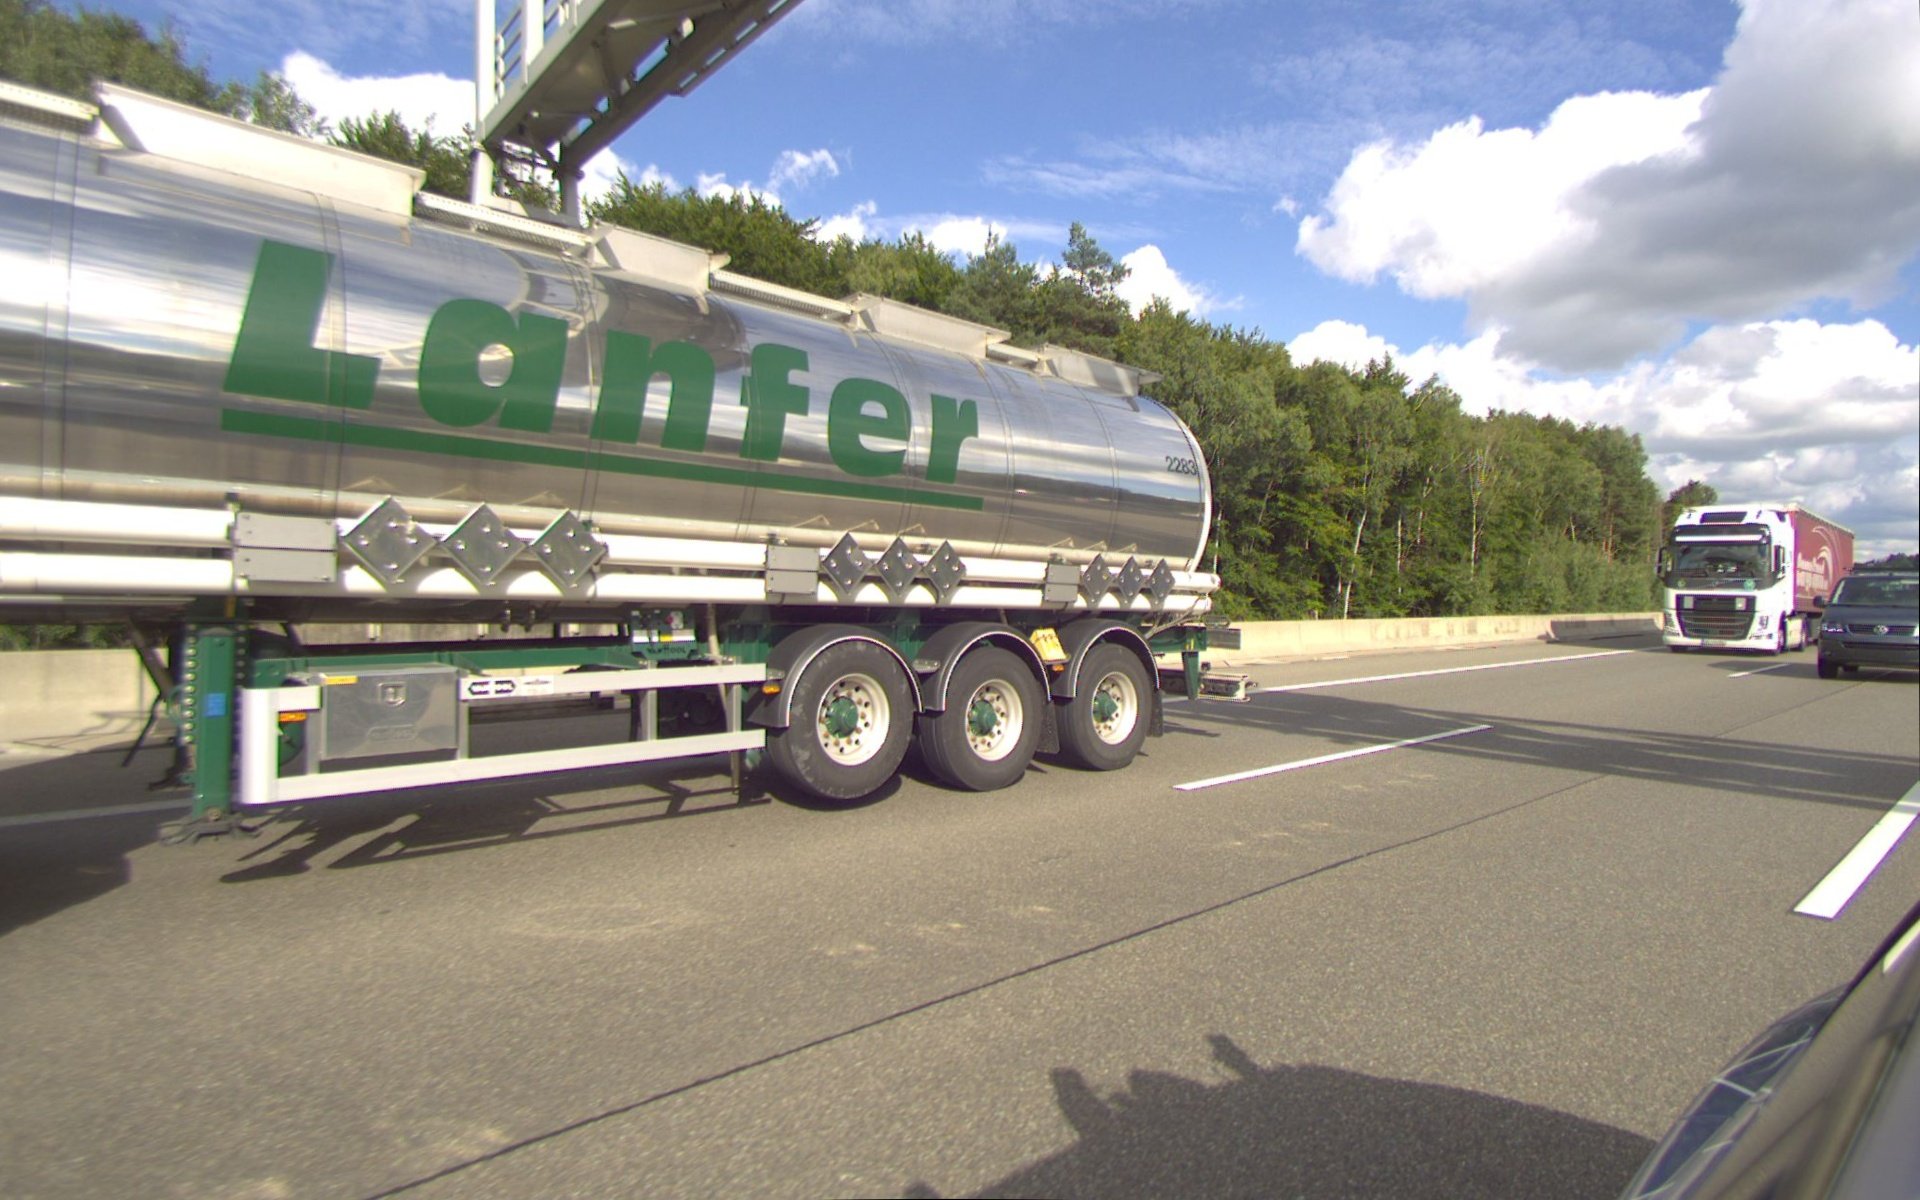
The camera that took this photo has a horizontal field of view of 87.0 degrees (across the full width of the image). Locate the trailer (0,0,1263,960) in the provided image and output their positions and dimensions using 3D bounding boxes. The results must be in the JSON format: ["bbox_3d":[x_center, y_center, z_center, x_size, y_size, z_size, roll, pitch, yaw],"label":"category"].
[{"bbox_3d":[-2.322,-0.575,6.811,11.655,3.814,2.653,0,1,-42],"label":"trailer"}]

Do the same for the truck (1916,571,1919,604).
[{"bbox_3d":[113.977,-1.430,118.355,3.011,3.730,7.440,2,1,44],"label":"truck"}]

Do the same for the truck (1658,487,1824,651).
[{"bbox_3d":[21.869,-0.800,28.250,5.675,4.096,2.777,0,1,-43],"label":"truck"}]

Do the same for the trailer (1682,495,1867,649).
[{"bbox_3d":[26.603,-0.783,32.643,13.481,4.096,2.777,0,1,-43],"label":"trailer"}]

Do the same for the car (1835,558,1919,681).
[{"bbox_3d":[18.324,0.325,19.383,4.849,2.136,1.851,0,0,-43],"label":"car"}]
